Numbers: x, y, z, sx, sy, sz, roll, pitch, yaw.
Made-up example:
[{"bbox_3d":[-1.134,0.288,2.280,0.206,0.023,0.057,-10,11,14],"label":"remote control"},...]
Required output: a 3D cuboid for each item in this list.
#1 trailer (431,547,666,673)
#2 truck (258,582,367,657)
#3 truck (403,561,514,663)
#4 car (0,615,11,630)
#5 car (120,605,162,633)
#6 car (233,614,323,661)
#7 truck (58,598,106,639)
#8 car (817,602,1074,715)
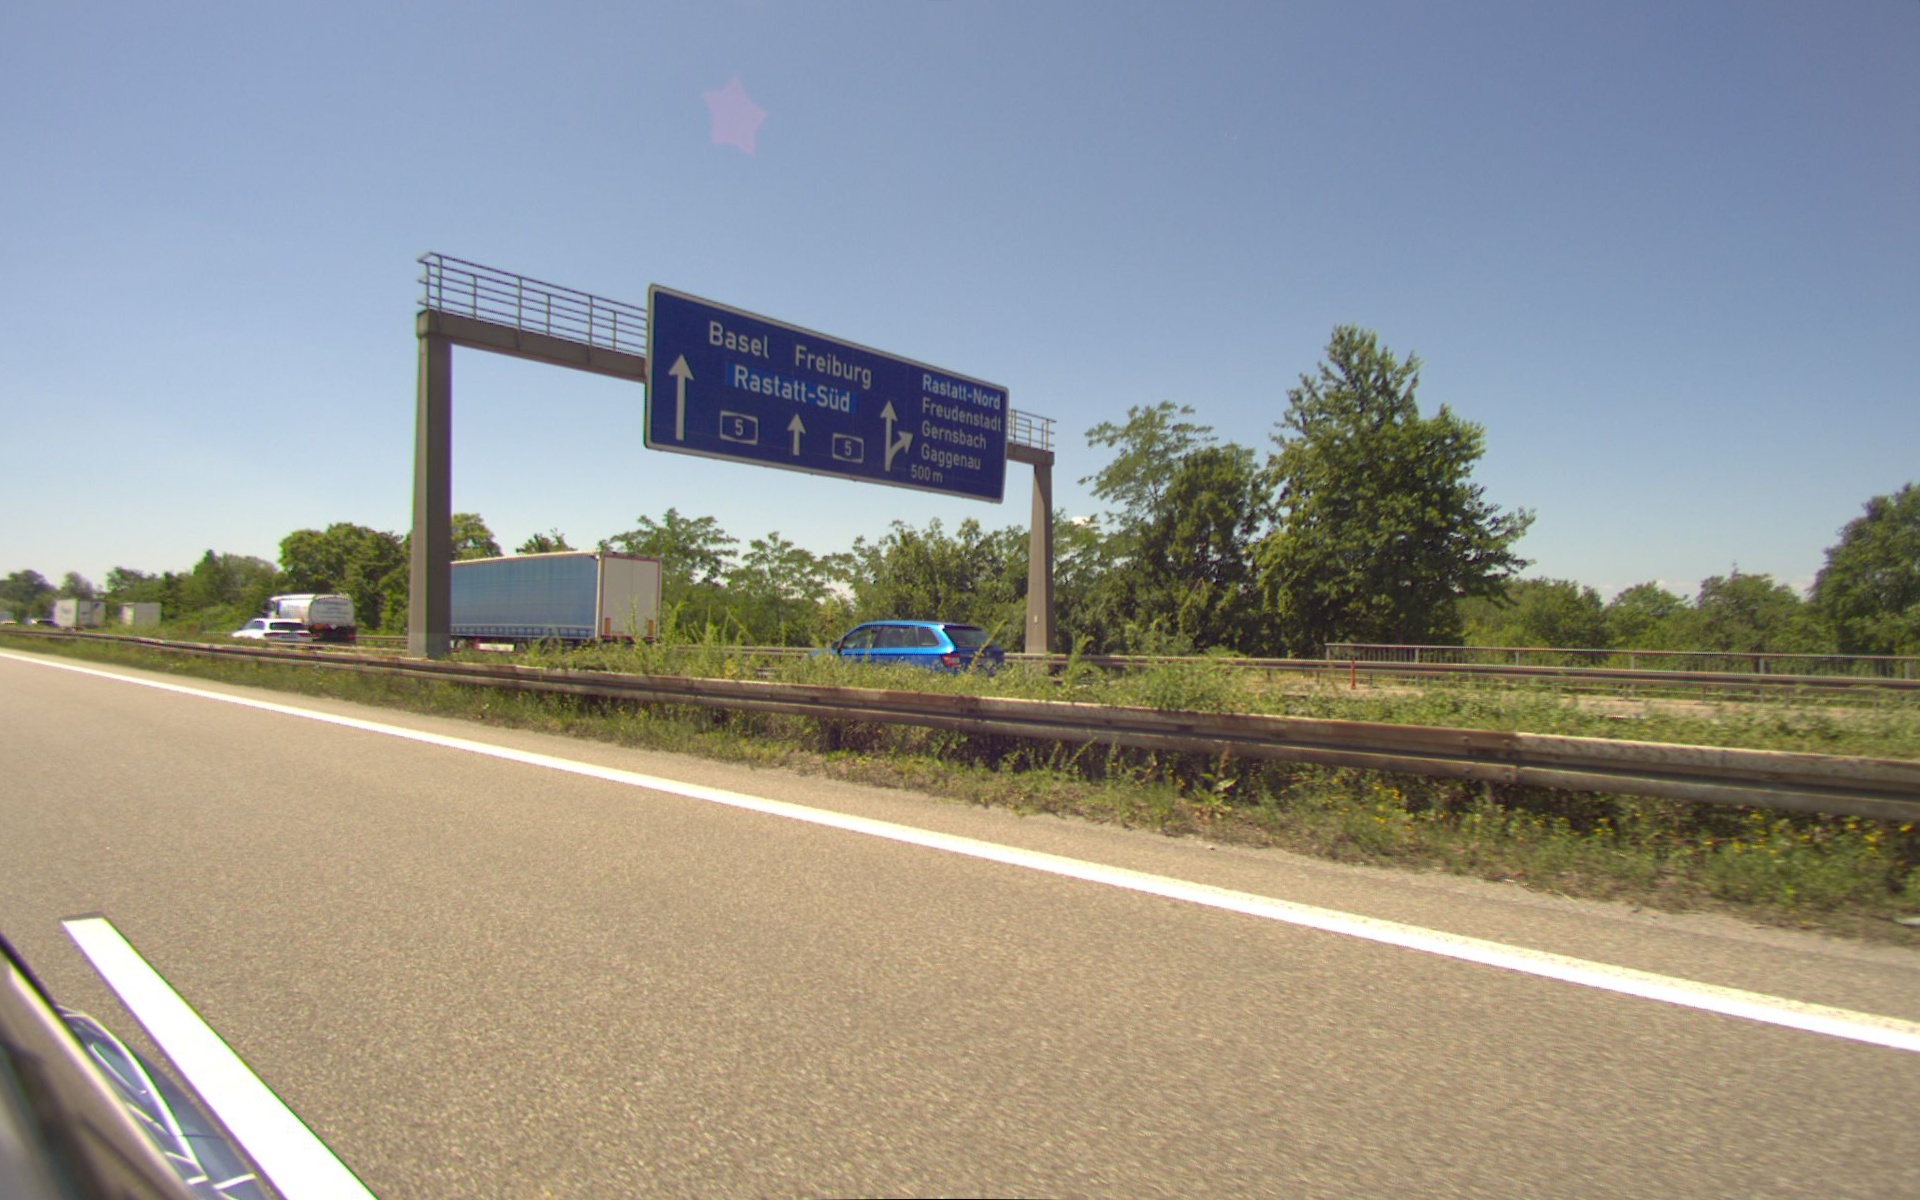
[{"bbox_3d":[-16.941,0.408,40.620,13.941,4.339,2.715,-1,0,41],"label":"trailer"},{"bbox_3d":[-38.828,1.115,60.575,8.602,4.166,3.202,-1,0,41],"label":"truck"},{"bbox_3d":[-22.596,0.518,45.532,5.052,4.335,2.715,-1,0,41],"label":"truck"},{"bbox_3d":[-126.638,2.968,132.939,4.555,2.029,2.457,-1,0,41],"label":"car"},{"bbox_3d":[-78.237,1.836,96.701,4.516,2.556,2.340,-1,-2,41],"label":"car"},{"bbox_3d":[-26.854,1.446,39.792,3.998,1.735,1.973,-1,-2,41],"label":"car"},{"bbox_3d":[-97.699,2.040,112.602,8.237,4.386,2.900,-1,0,41],"label":"truck"},{"bbox_3d":[-0.318,0.897,16.817,3.998,1.650,1.973,-1,-2,41],"label":"car"}]
